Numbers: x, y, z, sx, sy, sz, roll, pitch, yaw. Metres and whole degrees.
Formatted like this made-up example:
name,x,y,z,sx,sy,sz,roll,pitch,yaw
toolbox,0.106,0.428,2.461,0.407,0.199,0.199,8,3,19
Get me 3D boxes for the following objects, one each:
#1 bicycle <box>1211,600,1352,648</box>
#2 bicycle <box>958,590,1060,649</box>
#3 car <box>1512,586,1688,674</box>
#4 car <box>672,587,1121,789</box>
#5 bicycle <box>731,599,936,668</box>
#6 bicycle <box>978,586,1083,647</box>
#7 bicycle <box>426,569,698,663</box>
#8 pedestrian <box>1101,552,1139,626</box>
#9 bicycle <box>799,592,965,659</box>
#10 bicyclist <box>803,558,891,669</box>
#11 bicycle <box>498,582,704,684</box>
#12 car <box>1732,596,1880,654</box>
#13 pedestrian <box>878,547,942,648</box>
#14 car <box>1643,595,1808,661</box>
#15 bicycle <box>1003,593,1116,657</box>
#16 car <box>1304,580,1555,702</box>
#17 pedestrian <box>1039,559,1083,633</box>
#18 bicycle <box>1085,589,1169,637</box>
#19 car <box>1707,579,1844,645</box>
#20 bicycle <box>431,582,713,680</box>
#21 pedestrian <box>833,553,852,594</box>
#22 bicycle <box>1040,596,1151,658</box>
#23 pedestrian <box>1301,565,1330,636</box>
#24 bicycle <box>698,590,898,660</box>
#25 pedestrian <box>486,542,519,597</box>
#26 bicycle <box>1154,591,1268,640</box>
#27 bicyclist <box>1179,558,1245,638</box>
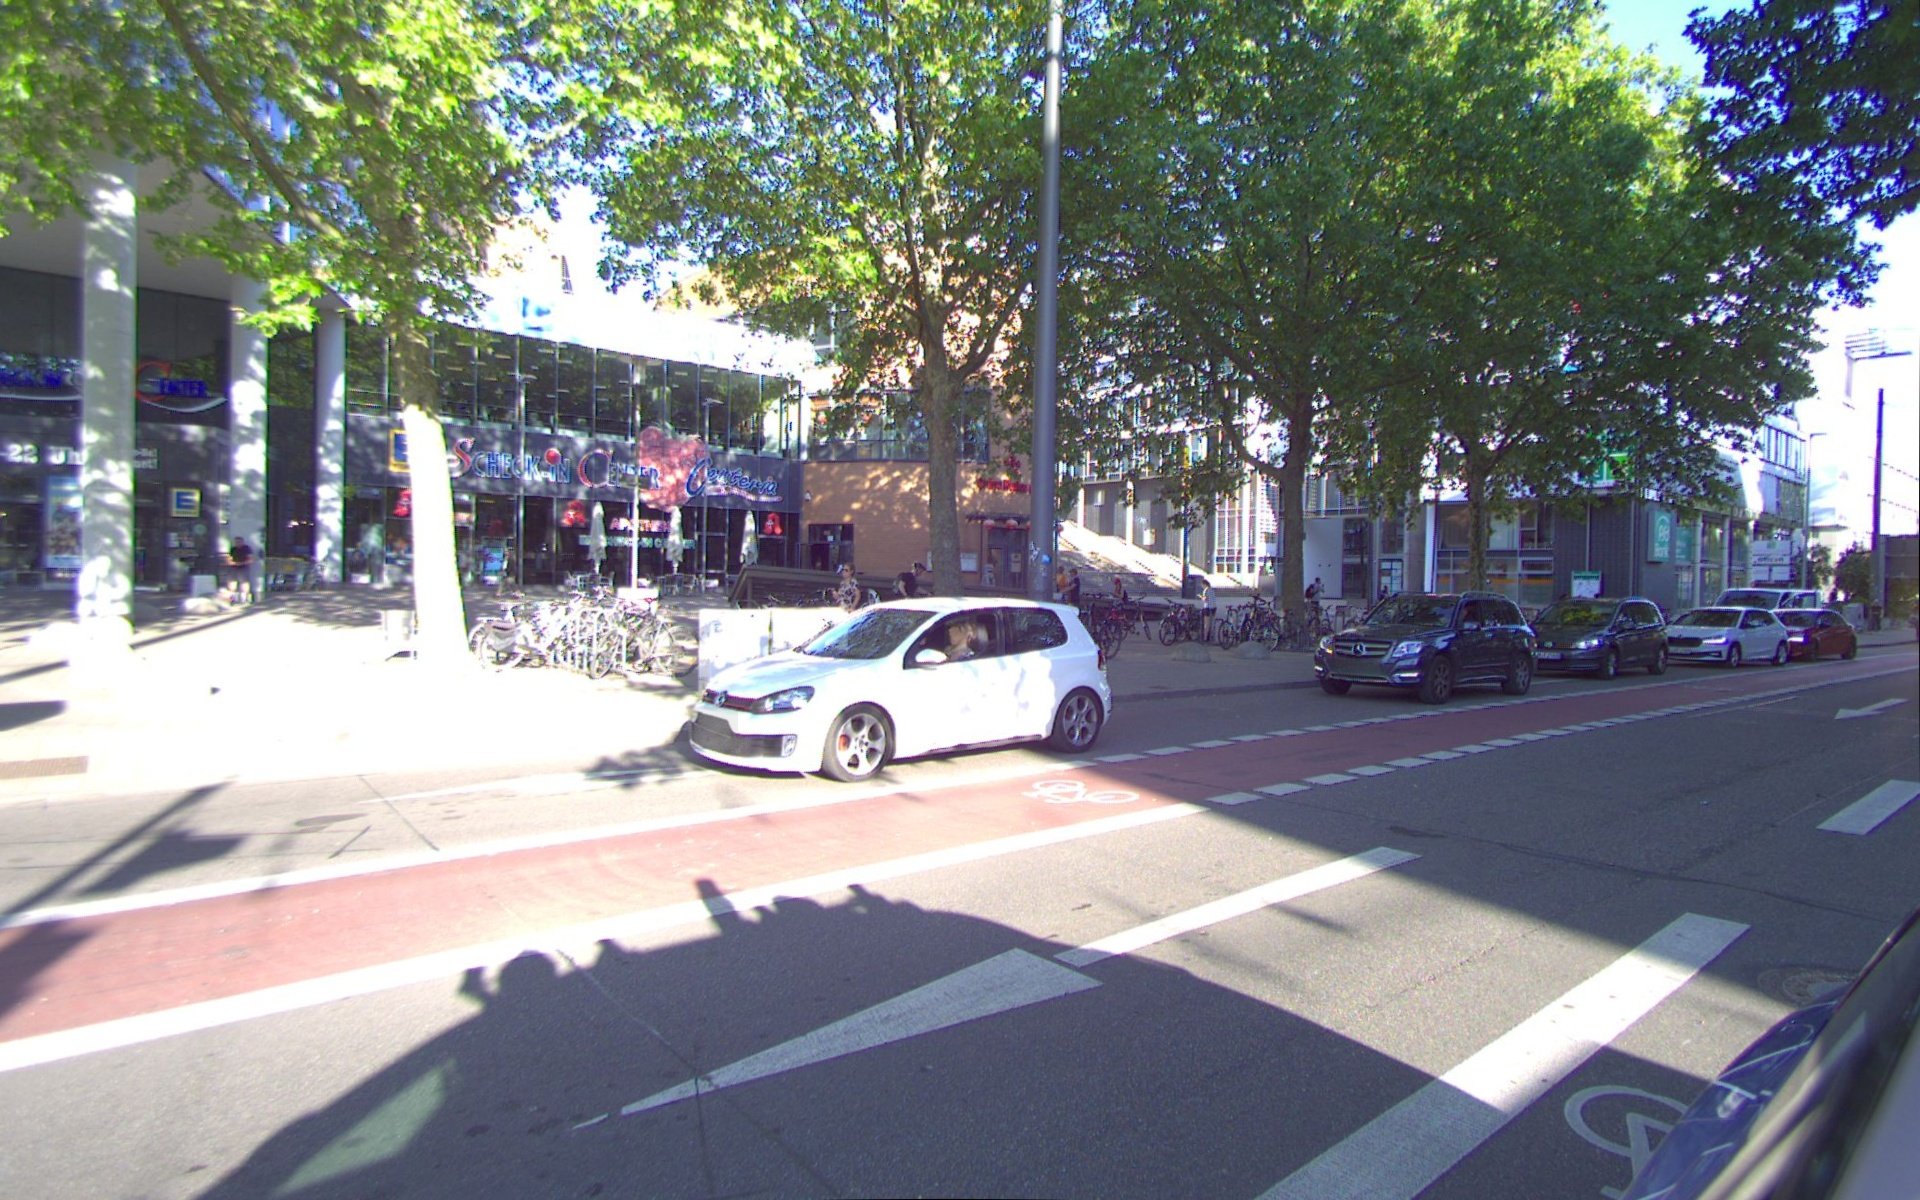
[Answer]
name,x,y,z,sx,sy,sz,roll,pitch,yaw
bicycle,7.431,0.538,23.384,3.136,1.038,0.979,0,0,-18
bicycle,1.047,0.381,21.089,2.251,1.177,0.657,-1,0,-38
car,13.399,0.559,21.101,4.309,1.656,1.710,0,0,-37
car,-0.426,0.621,9.200,3.918,1.446,1.637,0,0,-42
bicycle,-2.027,0.501,16.738,3.352,1.014,1.050,-1,0,-41
bicycle,1.451,0.299,20.457,2.263,1.177,0.671,-1,0,-38
bicycle,-5.957,0.289,15.423,3.743,1.236,0.729,4,-2,-35
pedestrian,4.985,-0.350,31.544,0.884,2.261,0.845,0,0,-19
bicycle,-1.201,0.368,16.056,2.591,0.960,0.924,-1,0,-41
bicyclist,-1.741,0.195,15.594,1.005,1.641,0.902,0,0,-41
bicycle,-4.815,0.400,13.698,2.504,1.236,0.758,-2,1,-35
car,23.549,0.655,28.157,4.111,1.508,1.839,0,-1,-30
pedestrian,-1.035,-0.068,21.120,0.922,2.039,1.085,2,1,24
car,18.963,0.642,25.044,4.112,1.508,1.839,0,0,-31
bicycle,1.981,0.459,19.811,2.354,1.177,0.751,-1,0,-39
car,7.401,0.552,15.811,4.170,1.656,1.770,0,0,-36
pedestrian,3.140,-0.134,31.604,1.195,2.276,1.052,0,0,-3
bicycle,4.499,0.313,27.112,2.653,1.215,0.698,-1,1,-41
car,26.537,0.354,32.867,5.805,1.989,1.935,0,0,-35
bicycle,-5.522,0.386,14.695,3.744,1.236,0.758,-2,1,-35
pedestrian,-5.186,-1.157,44.629,0.635,1.765,0.665,1,1,8
bicycle,2.578,0.486,19.055,2.295,1.073,0.682,-1,1,-39
pedestrian,13.475,0.018,38.378,0.967,2.681,0.897,0,0,18
bicycle,-2.744,0.388,17.541,3.352,1.013,1.051,-1,6,-41
pedestrian,-15.055,-1.003,33.330,0.823,1.765,0.645,0,1,-41
bicycle,6.560,0.382,26.790,1.124,1.097,3.342,0,2,-23
bicyclist,6.629,-0.074,26.654,1.132,2.039,1.301,0,1,-24
